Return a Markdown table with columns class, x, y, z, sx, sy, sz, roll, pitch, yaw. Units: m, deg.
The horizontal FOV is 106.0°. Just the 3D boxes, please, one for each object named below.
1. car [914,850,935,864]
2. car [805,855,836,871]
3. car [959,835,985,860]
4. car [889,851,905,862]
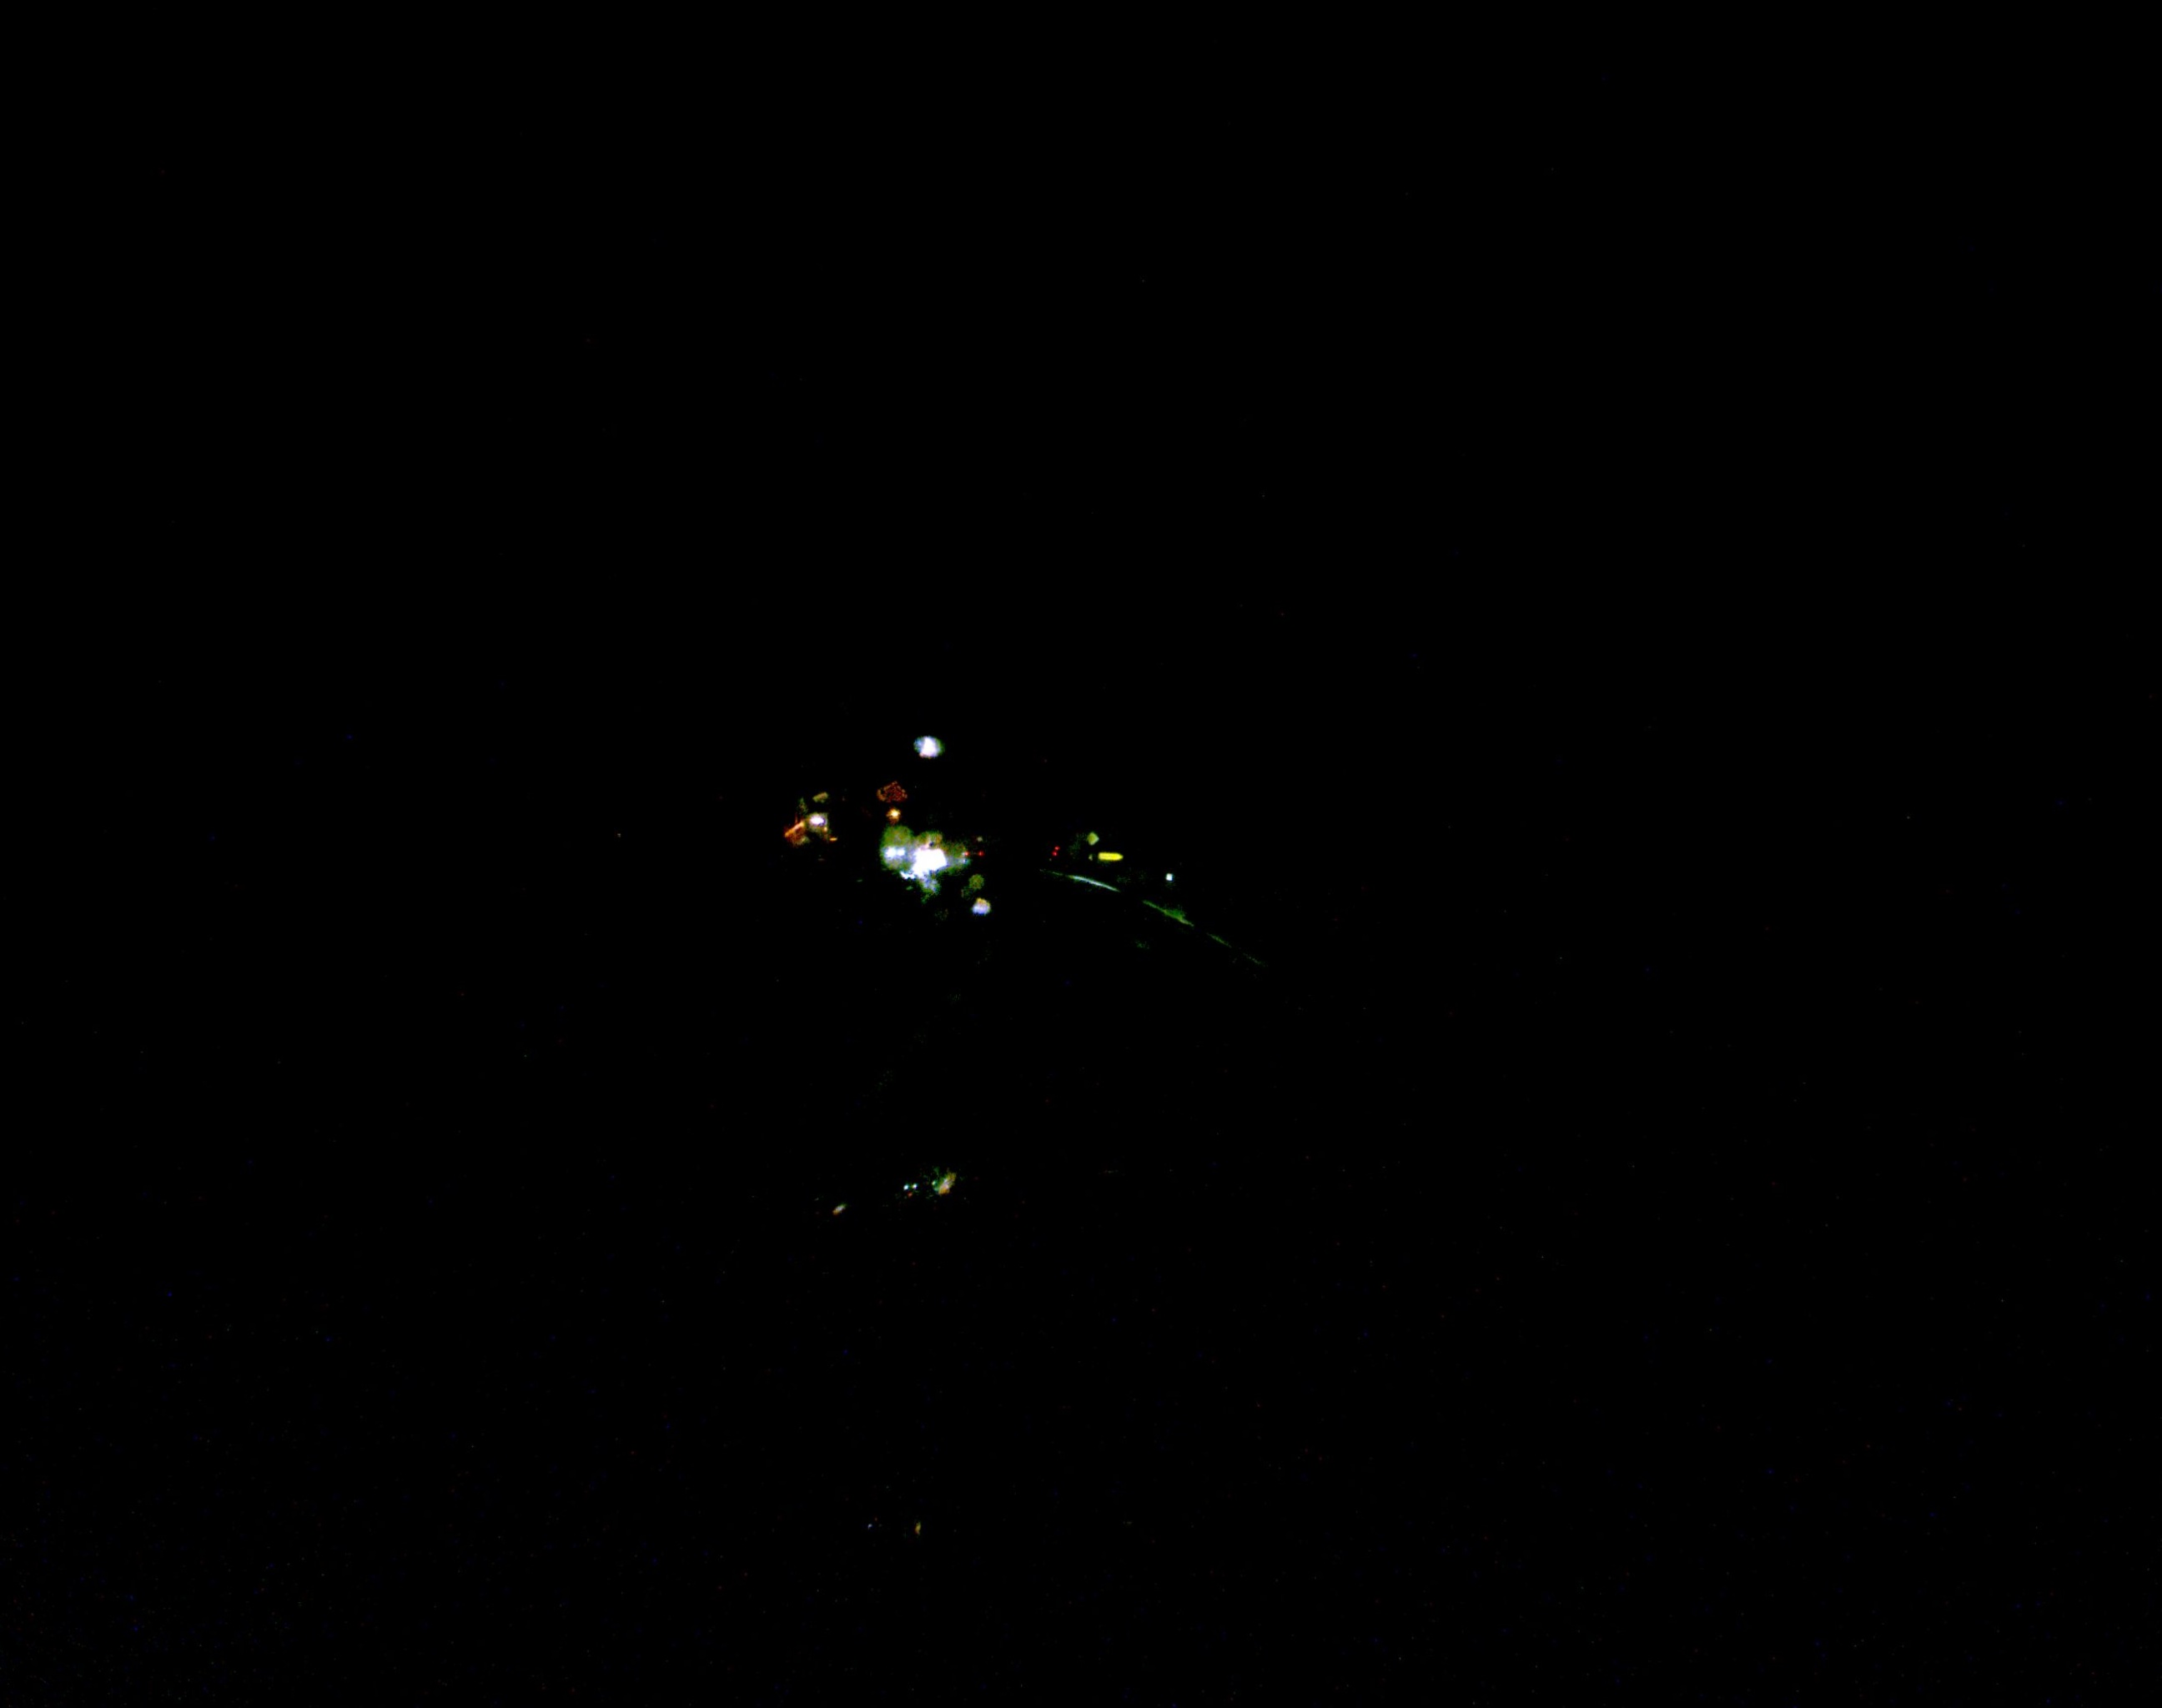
| class | x | y | z | sx | sy | sz | roll | pitch | yaw |
| --- | --- | --- | --- | --- | --- | --- | --- | --- | --- |
| car | -17.760 | 0.381 | 92.447 | 1.960 | 1.522 | 4.374 | 1 | -1 | -17 |
| car | -25.674 | 0.841 | 80.433 | 1.683 | 1.398 | 4.150 | -3 | 1 | 0 |
| car | -12.031 | -0.747 | 89.262 | 2.539 | 2.497 | 5.695 | 0 | 3 | -11 |
| car | -24.689 | 0.348 | 109.275 | 1.717 | 1.476 | 3.844 | 1 | 1 | -19 |
